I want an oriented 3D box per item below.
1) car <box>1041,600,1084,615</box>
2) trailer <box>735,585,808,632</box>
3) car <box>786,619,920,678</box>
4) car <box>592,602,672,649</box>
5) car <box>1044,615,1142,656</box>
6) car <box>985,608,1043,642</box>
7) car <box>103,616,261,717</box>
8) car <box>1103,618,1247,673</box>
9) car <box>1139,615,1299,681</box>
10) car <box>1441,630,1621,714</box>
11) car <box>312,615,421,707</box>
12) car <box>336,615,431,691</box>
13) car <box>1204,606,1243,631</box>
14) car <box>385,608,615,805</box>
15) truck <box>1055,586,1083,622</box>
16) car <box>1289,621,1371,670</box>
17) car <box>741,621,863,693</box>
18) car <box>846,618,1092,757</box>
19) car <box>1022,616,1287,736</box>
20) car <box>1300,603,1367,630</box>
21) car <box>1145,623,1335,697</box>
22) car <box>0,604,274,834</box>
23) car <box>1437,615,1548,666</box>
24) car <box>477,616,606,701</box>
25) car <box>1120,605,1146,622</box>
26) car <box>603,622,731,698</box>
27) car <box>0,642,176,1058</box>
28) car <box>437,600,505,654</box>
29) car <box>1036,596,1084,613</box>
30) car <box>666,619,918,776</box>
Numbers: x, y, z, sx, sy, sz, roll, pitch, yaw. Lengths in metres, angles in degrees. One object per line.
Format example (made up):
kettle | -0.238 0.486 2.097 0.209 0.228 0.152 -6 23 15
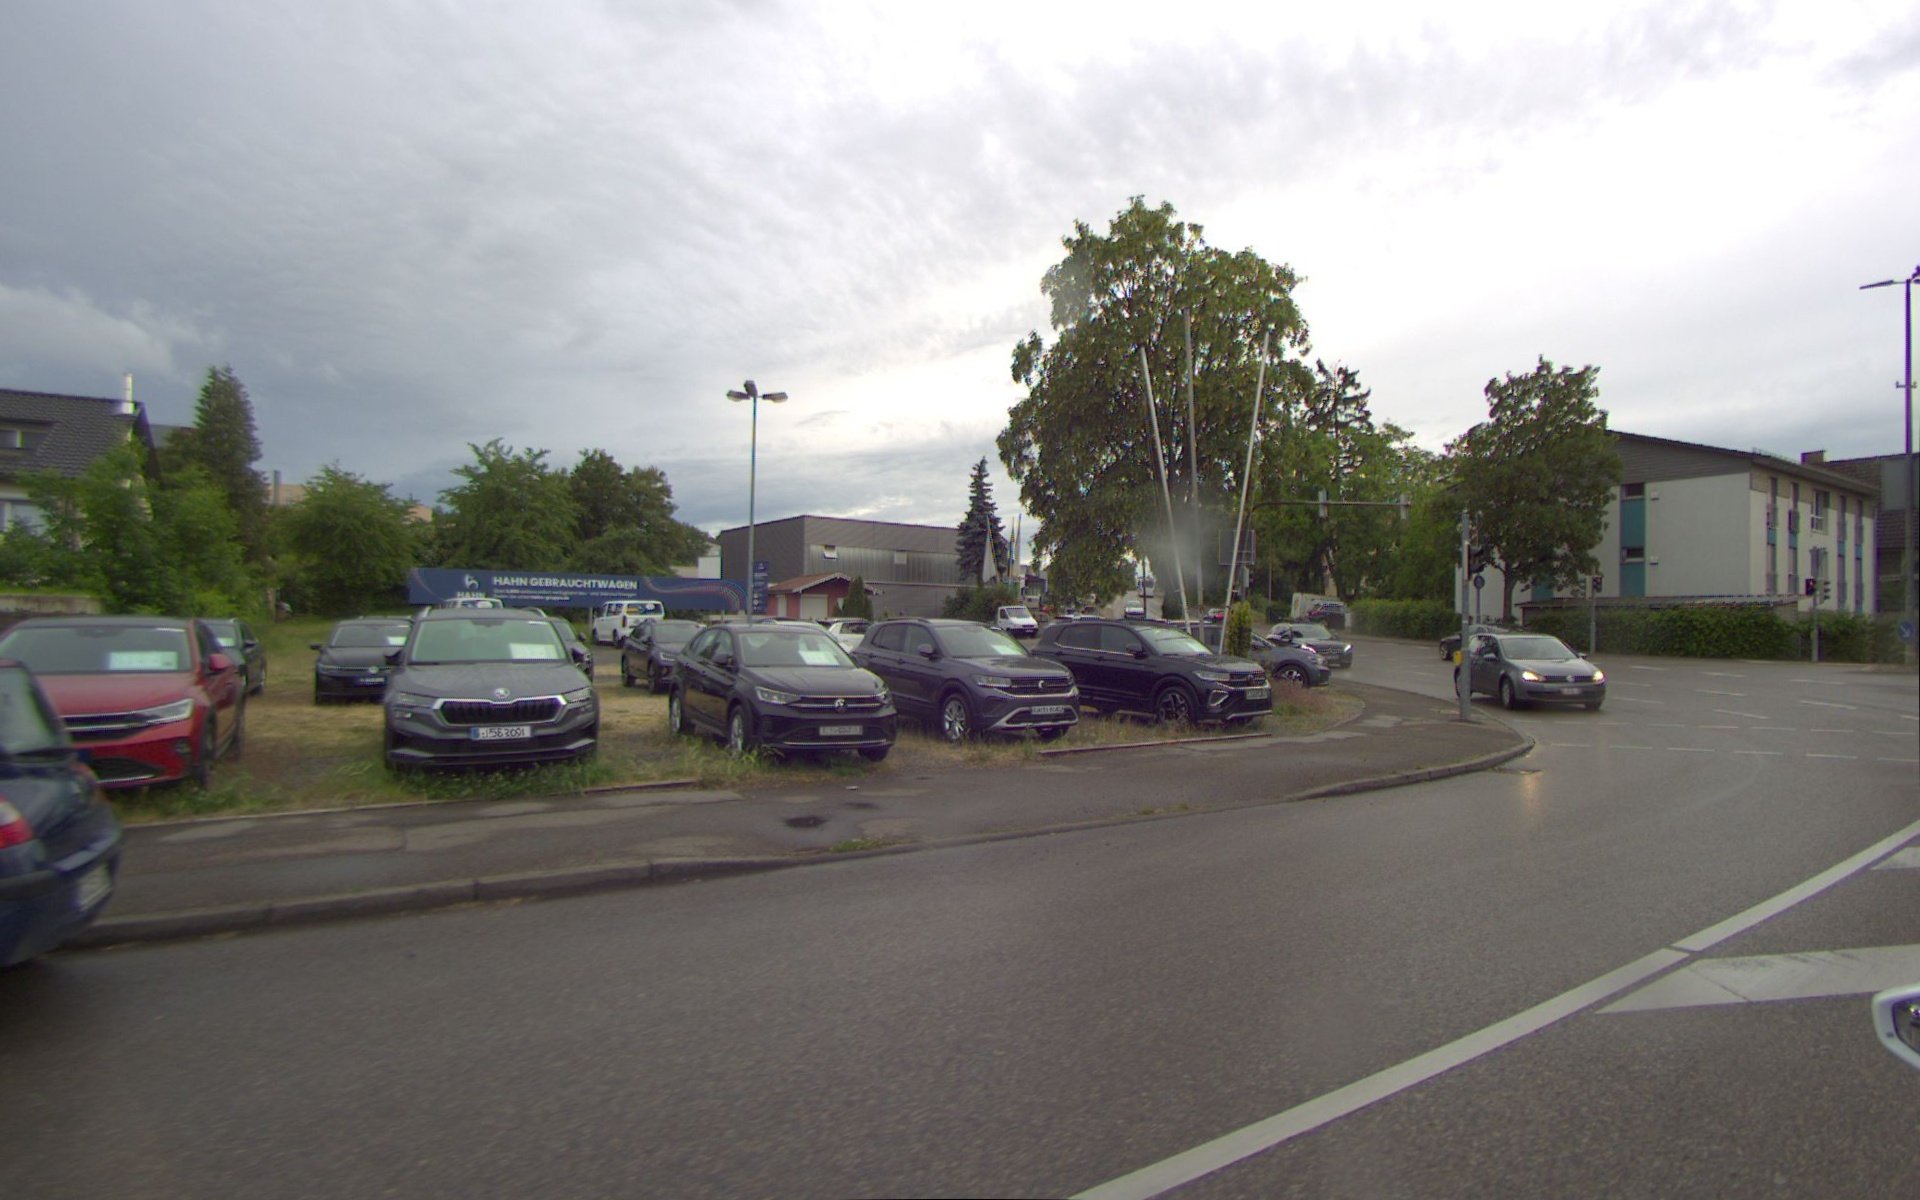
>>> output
car | 10.069 0.742 98.535 3.924 1.394 1.813 1 -1 -5
trailer | -11.984 0.551 63.644 2.595 2.800 4.973 1 -1 -38
car | -3.206 1.419 30.684 1.688 1.576 3.978 0 0 42
car | -14.165 1.032 43.226 1.981 1.895 4.405 0 0 -37
car | 5.763 1.550 43.477 3.956 1.541 1.745 4 -2 -32
car | 3.371 1.509 63.303 1.974 2.021 3.973 0 0 -26
car | -13.080 1.038 17.093 1.573 1.447 3.616 0 0 -29
car | 6.302 1.322 29.776 3.921 1.530 1.757 0 0 0
car | 6.885 1.269 27.070 3.919 1.576 1.758 -2 0 5
car | 11.822 1.438 21.120 1.694 1.475 4.002 -3 -1 4
car | -10.847 1.027 18.526 1.572 1.447 3.617 0 0 -28
car | -13.509 1.169 23.708 1.731 1.573 3.972 0 0 -27
car | 18.632 1.266 71.246 1.960 1.706 4.002 0 0 4
car | -4.815 0.886 10.311 1.781 1.564 3.970 1 0 -29
truck | 8.107 0.257 74.689 1.959 2.573 5.561 1 1 6
car | 12.606 1.506 34.480 1.677 1.411 4.352 0 1 7
car | -3.741 1.311 23.268 1.571 1.483 3.745 0 -3 -29
car | -0.028 1.076 14.042 1.672 1.551 3.926 0 0 -31
car | 2.892 1.059 15.584 1.609 1.551 3.911 0 0 -41
car | 25.199 1.107 67.878 3.919 1.747 2.001 0 0 6
car | 6.243 1.329 22.492 3.903 1.510 1.757 -2 0 17
car | -7.318 0.828 8.759 1.781 1.564 3.970 1 0 -29
car | 18.410 1.359 34.946 1.960 1.595 4.001 0 0 4
car | -8.395 1.082 19.994 1.577 1.447 3.607 0 0 -36
car | 14.801 1.128 85.908 1.560 1.423 3.707 0 0 0
car | -6.352 1.209 21.565 1.503 1.393 3.607 0 0 -36
car | -5.169 0.887 3.475 3.640 1.452 1.619 1 -2 -30
car | -19.131 0.992 39.218 1.706 2.000 4.151 0 0 -36
car | 10.135 0.423 101.650 4.677 1.645 1.815 1 -1 1
car | -2.167 0.994 11.986 1.781 1.460 3.970 1 0 -29
